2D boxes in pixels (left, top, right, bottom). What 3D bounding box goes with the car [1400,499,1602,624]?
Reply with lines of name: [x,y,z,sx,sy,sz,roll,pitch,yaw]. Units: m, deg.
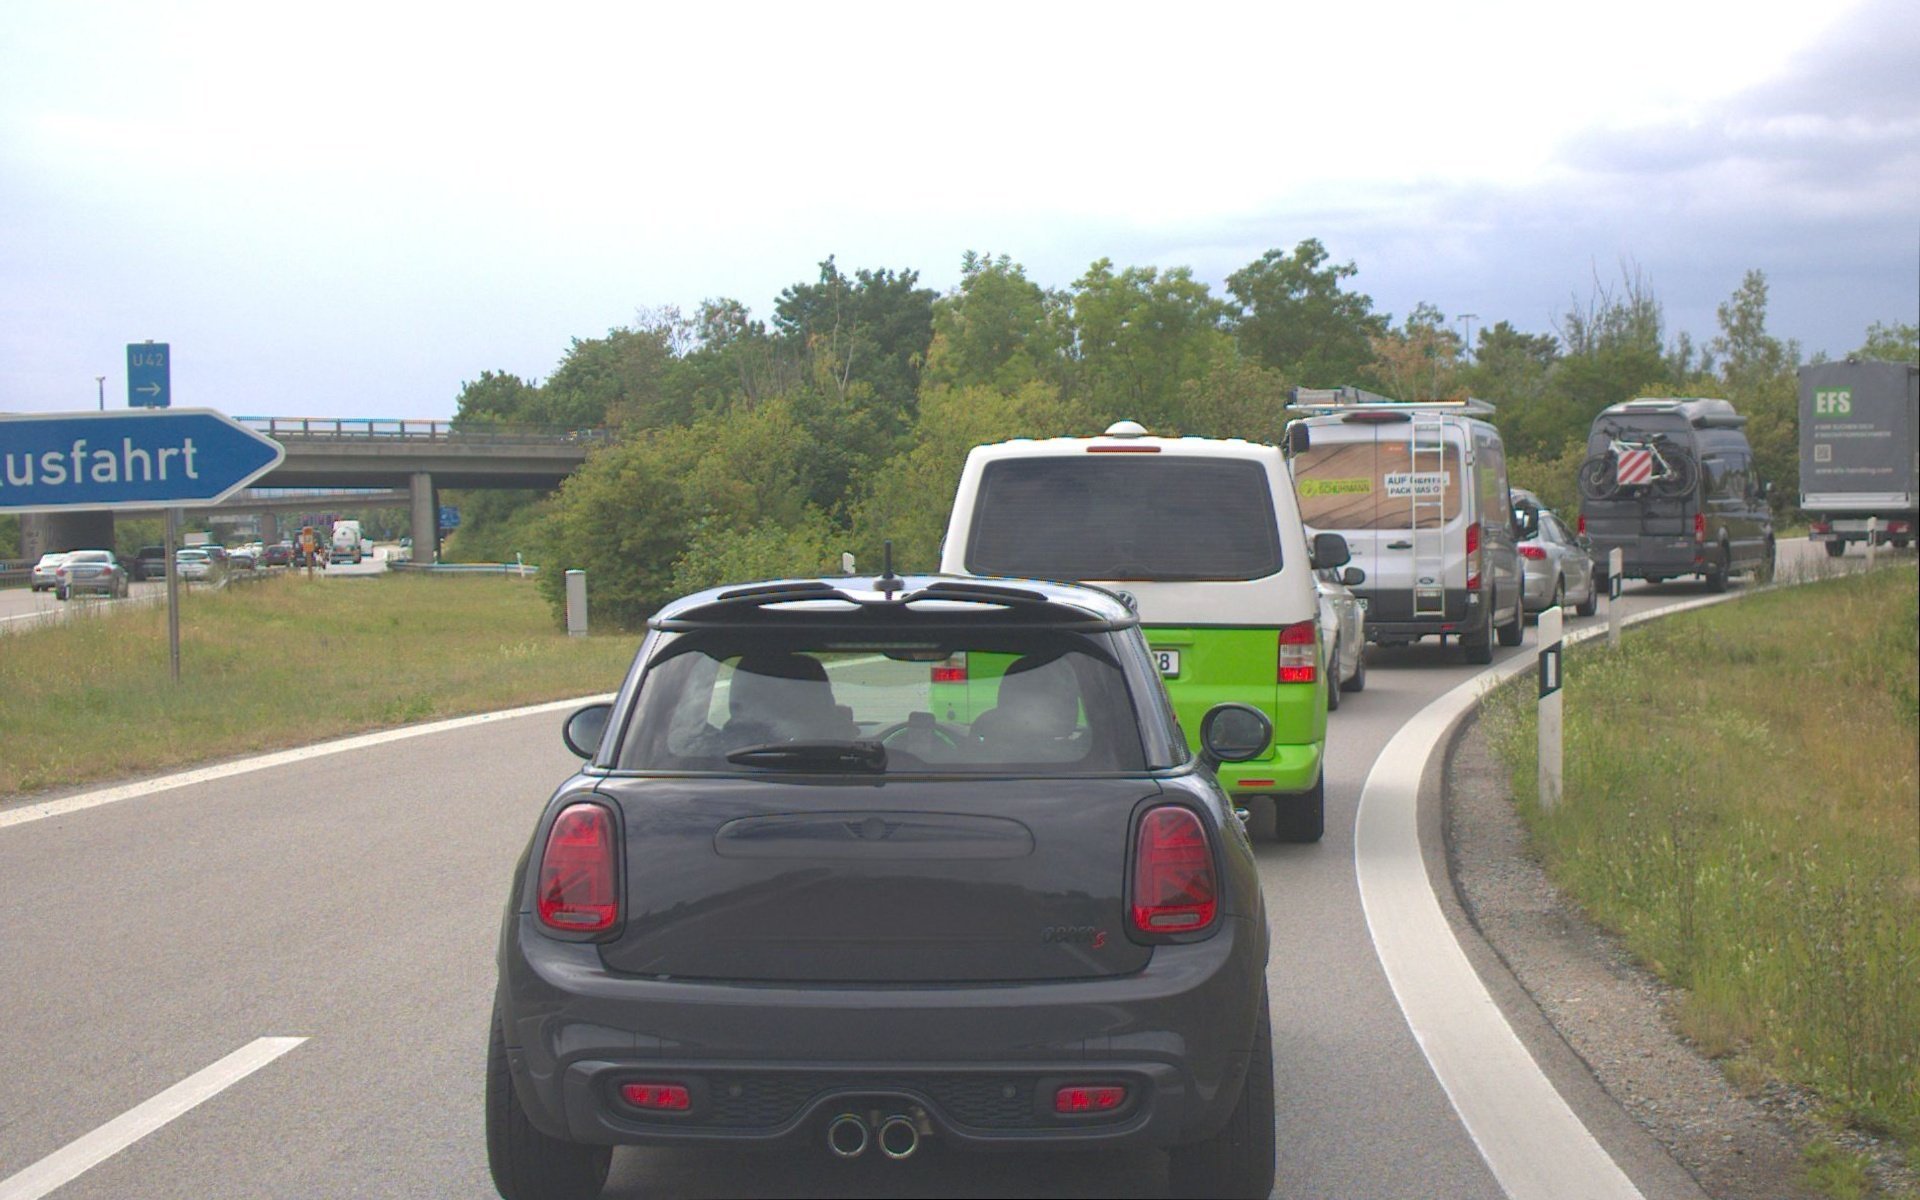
car: [6.918,-0.502,43.657,1.868,1.504,3.996,0,1,19]

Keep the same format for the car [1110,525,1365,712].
car: [2.298,0.106,27.702,1.763,1.394,3.724,-1,1,9]

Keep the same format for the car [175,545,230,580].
car: [-31.140,-1.548,141.405,1.779,1.394,4.030,-1,1,-6]

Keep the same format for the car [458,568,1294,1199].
car: [-0.176,0.641,8.969,1.727,1.409,3.725,0,1,0]

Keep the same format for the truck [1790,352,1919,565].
truck: [18.166,-2.654,66.652,2.232,3.893,6.005,1,0,32]

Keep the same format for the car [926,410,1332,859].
car: [0.968,0.112,17.448,1.784,2.007,3.999,0,1,7]

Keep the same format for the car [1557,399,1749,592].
car: [10.525,-1.574,52.010,2.107,2.786,3.996,1,2,22]

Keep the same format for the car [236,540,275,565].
car: [-46.868,-3.172,228.800,2.159,1.665,4.307,-1,1,-6]

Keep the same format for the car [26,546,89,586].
car: [-32.605,-1.245,124.325,1.779,1.394,4.307,-1,1,-9]

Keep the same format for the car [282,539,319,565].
car: [-44.203,-3.218,230.466,2.095,1.665,4.307,-1,1,-6]

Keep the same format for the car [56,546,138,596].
car: [-25.598,-0.879,102.072,1.779,1.394,4.552,-1,1,-7]

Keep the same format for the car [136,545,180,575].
car: [-38.255,-1.921,164.063,1.779,1.394,4.307,-1,1,-10]

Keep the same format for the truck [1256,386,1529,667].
truck: [4.512,-0.779,35.176,2.180,2.649,5.106,0,2,14]

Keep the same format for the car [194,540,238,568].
car: [-44.161,-2.745,204.160,2.095,1.665,4.307,-1,1,-6]
